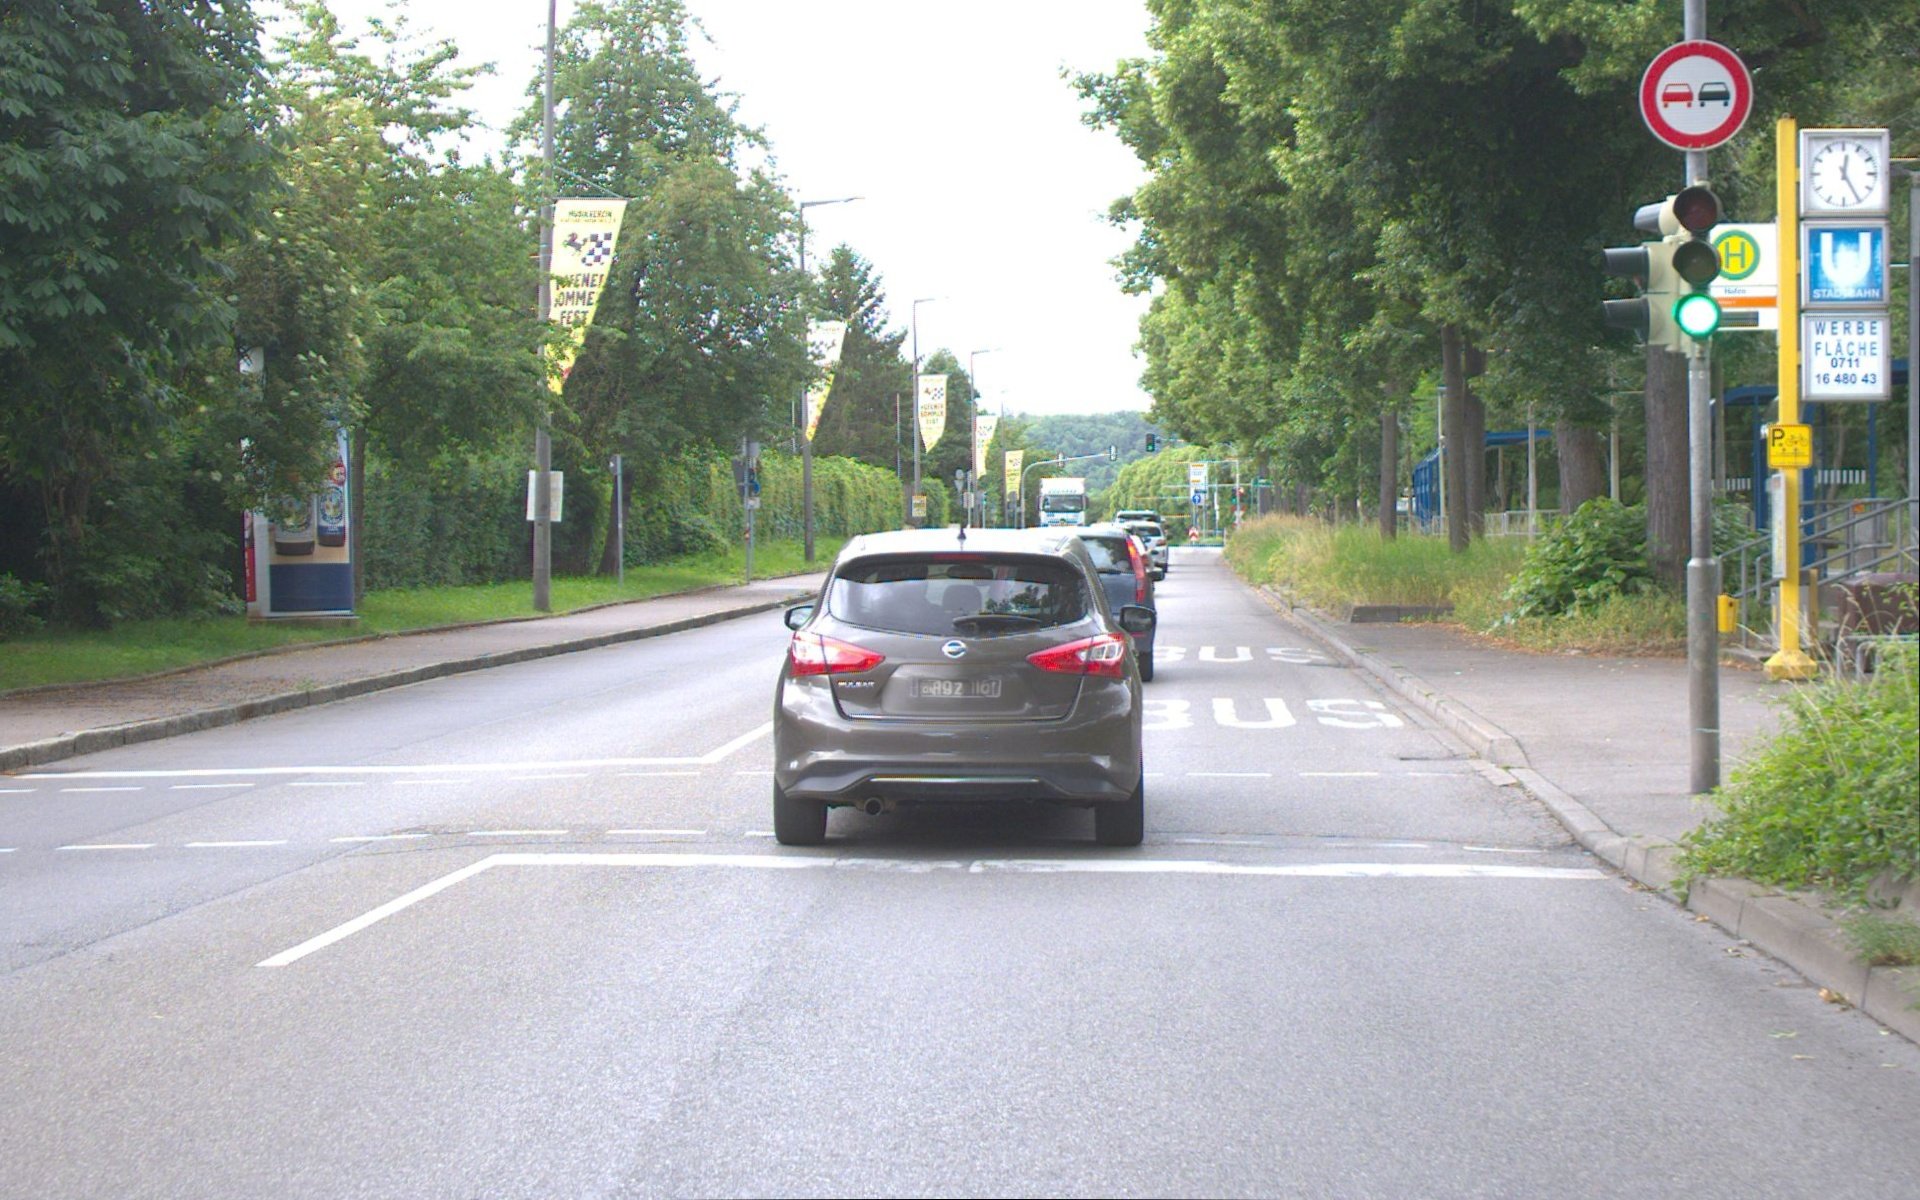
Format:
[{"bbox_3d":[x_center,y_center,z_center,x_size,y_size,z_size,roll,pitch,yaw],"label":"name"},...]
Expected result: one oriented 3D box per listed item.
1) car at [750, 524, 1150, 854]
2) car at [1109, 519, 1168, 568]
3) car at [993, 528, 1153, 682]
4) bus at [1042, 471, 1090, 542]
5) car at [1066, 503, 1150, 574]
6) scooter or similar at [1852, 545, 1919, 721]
[{"bbox_3d":[0.054,0.389,17.500,1.784,1.501,3.695,0,1,4],"label":"car"},{"bbox_3d":[5.273,-1.670,101.543,1.692,1.436,3.541,0,1,3],"label":"car"},{"bbox_3d":[1.153,0.021,33.960,1.502,1.436,3.541,0,1,3],"label":"car"},{"bbox_3d":[6.167,-5.353,198.105,2.488,4.012,10.216,0,1,3],"label":"bus"},{"bbox_3d":[3.093,-1.274,71.408,1.692,1.436,3.541,0,1,3],"label":"car"},{"bbox_3d":[7.191,0.230,24.717,1.453,1.238,0.485,0,1,-17],"label":"scooter or similar"}]
